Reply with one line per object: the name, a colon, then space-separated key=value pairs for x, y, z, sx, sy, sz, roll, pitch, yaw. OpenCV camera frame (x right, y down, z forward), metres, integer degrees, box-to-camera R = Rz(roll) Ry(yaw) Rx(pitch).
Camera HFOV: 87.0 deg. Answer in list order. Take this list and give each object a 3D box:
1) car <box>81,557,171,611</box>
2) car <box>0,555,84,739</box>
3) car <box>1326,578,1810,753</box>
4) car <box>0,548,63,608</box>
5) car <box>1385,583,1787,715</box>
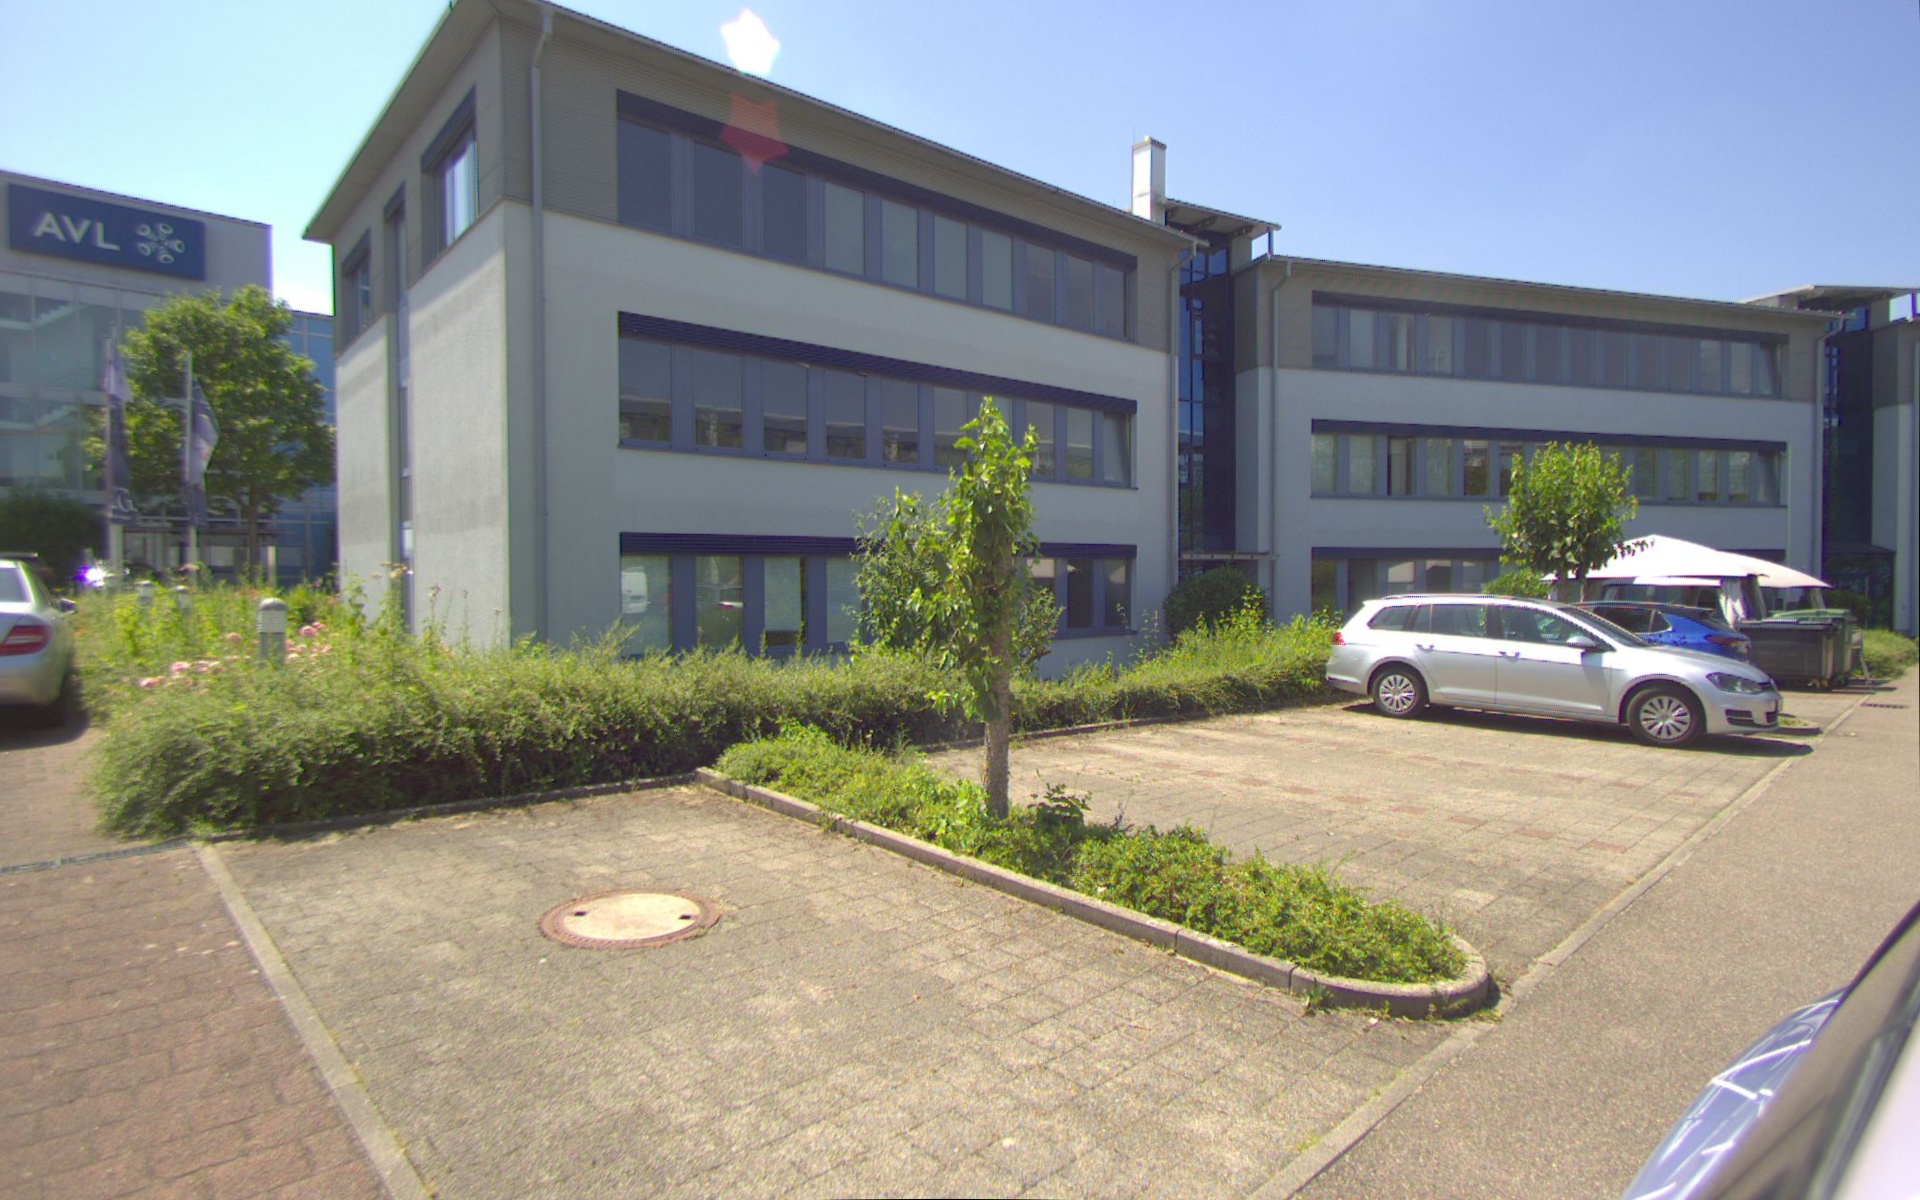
car: x=-25.683 y=-0.531 z=31.130 sx=1.747 sy=1.500 sz=4.247 roll=-1 pitch=3 yaw=-45
car: x=-9.139 y=0.319 z=9.160 sx=1.773 sy=1.415 sz=4.414 roll=-1 pitch=2 yaw=-40
car: x=6.712 y=0.568 z=11.554 sx=1.826 sy=1.538 sz=4.417 roll=0 pitch=2 yaw=-44
car: x=-27.306 y=-0.671 z=29.199 sx=3.976 sy=1.630 sz=1.902 roll=3 pitch=2 yaw=45
car: x=8.788 y=0.557 z=14.532 sx=1.826 sy=1.512 sz=4.602 roll=0 pitch=2 yaw=-44
